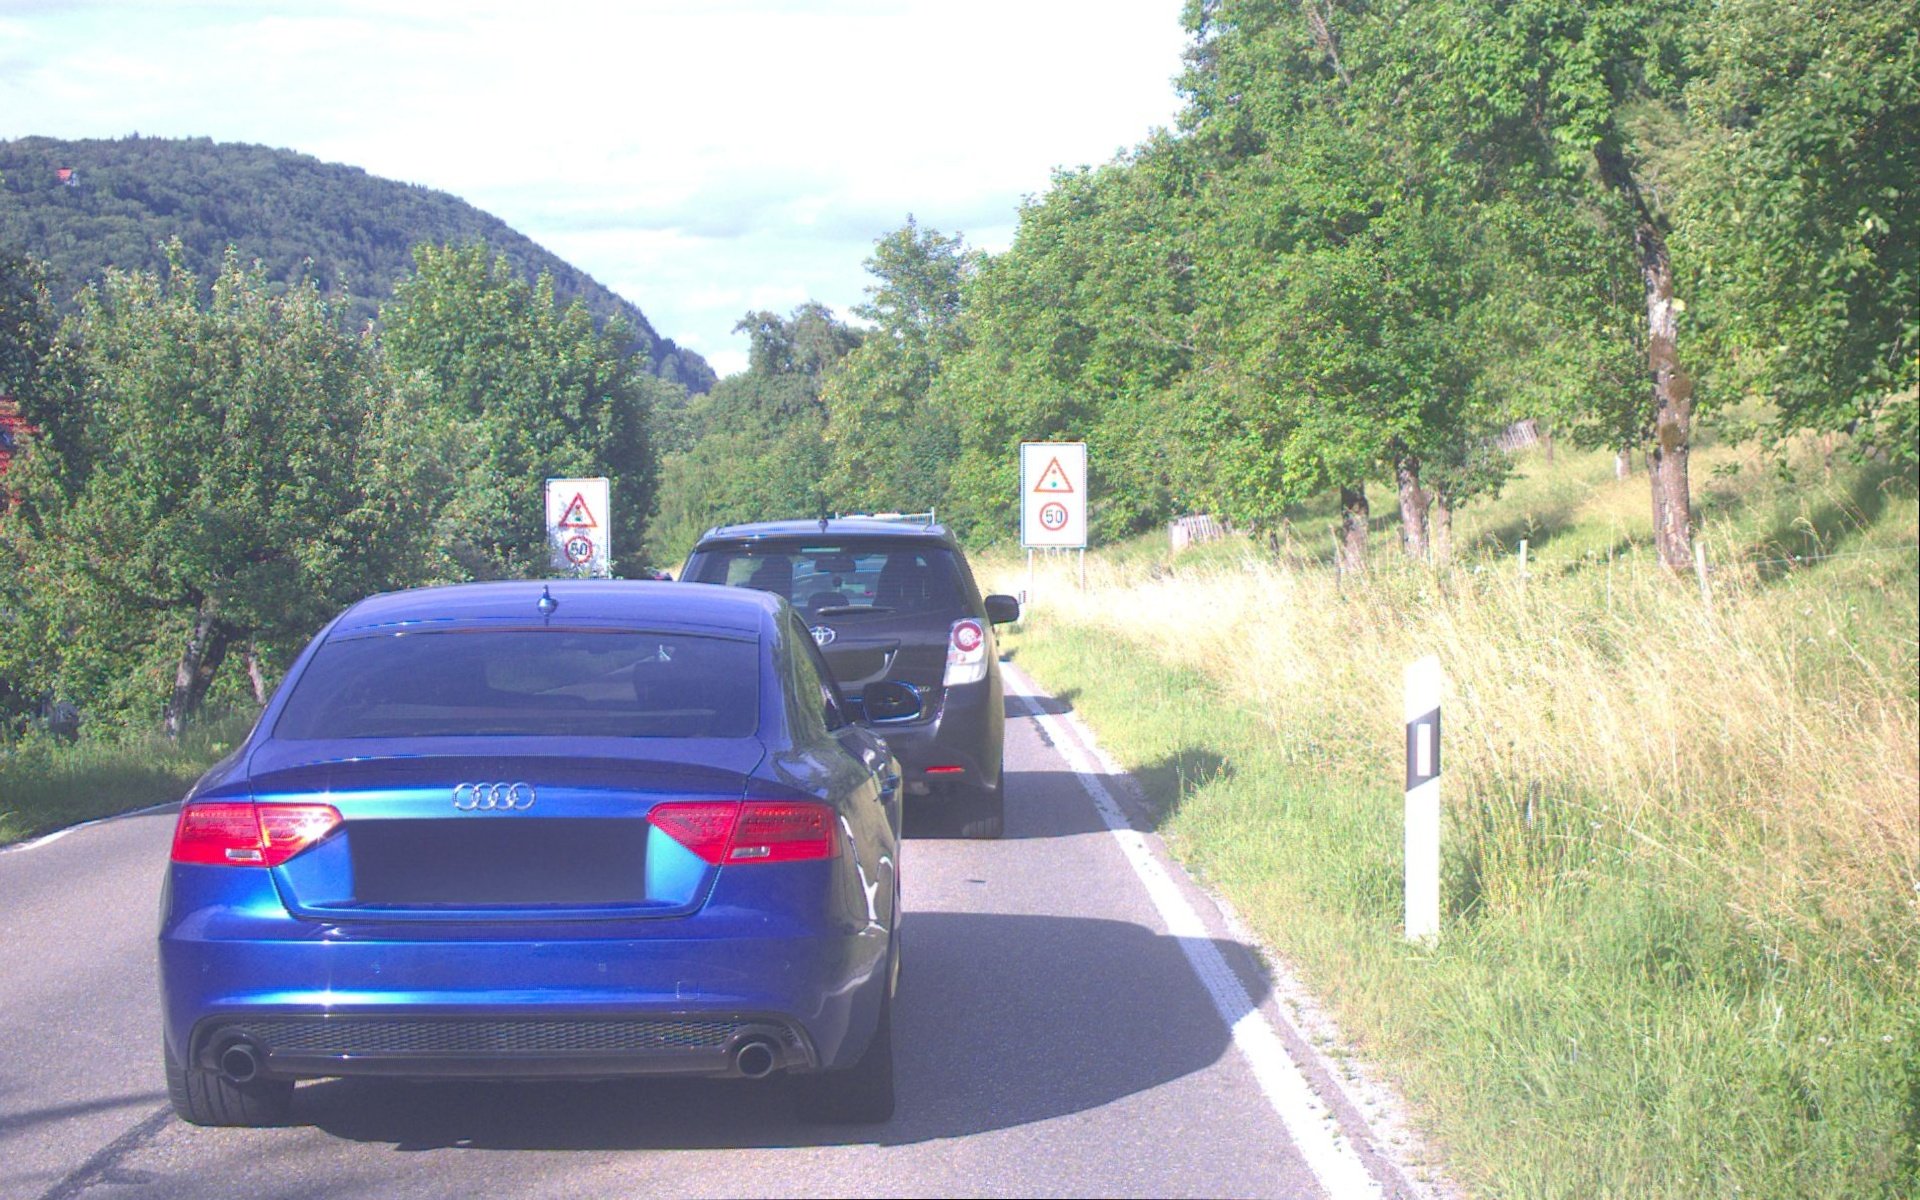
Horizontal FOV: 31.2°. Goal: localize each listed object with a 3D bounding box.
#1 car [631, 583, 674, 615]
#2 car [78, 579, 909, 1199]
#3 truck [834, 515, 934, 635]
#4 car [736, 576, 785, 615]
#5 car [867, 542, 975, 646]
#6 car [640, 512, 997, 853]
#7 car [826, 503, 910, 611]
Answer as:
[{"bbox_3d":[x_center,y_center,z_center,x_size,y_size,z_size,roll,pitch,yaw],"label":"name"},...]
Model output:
[{"bbox_3d":[-15.167,-0.060,169.433,1.558,1.490,3.779,1,1,-13],"label":"car"},{"bbox_3d":[-1.070,0.638,9.774,1.805,1.377,4.215,0,1,0],"label":"car"},{"bbox_3d":[-1.575,-0.535,71.054,1.950,2.337,5.094,1,1,-1],"label":"truck"},{"bbox_3d":[-8.042,-0.198,138.540,1.558,1.490,3.779,1,1,-9],"label":"car"},{"bbox_3d":[-0.641,-0.127,56.072,1.692,1.618,3.789,0,1,-1],"label":"car"},{"bbox_3d":[-0.697,0.355,18.207,1.692,1.618,3.789,0,1,-1],"label":"car"},{"bbox_3d":[-2.178,-1.015,80.808,1.792,2.445,3.920,1,1,-3],"label":"car"}]
